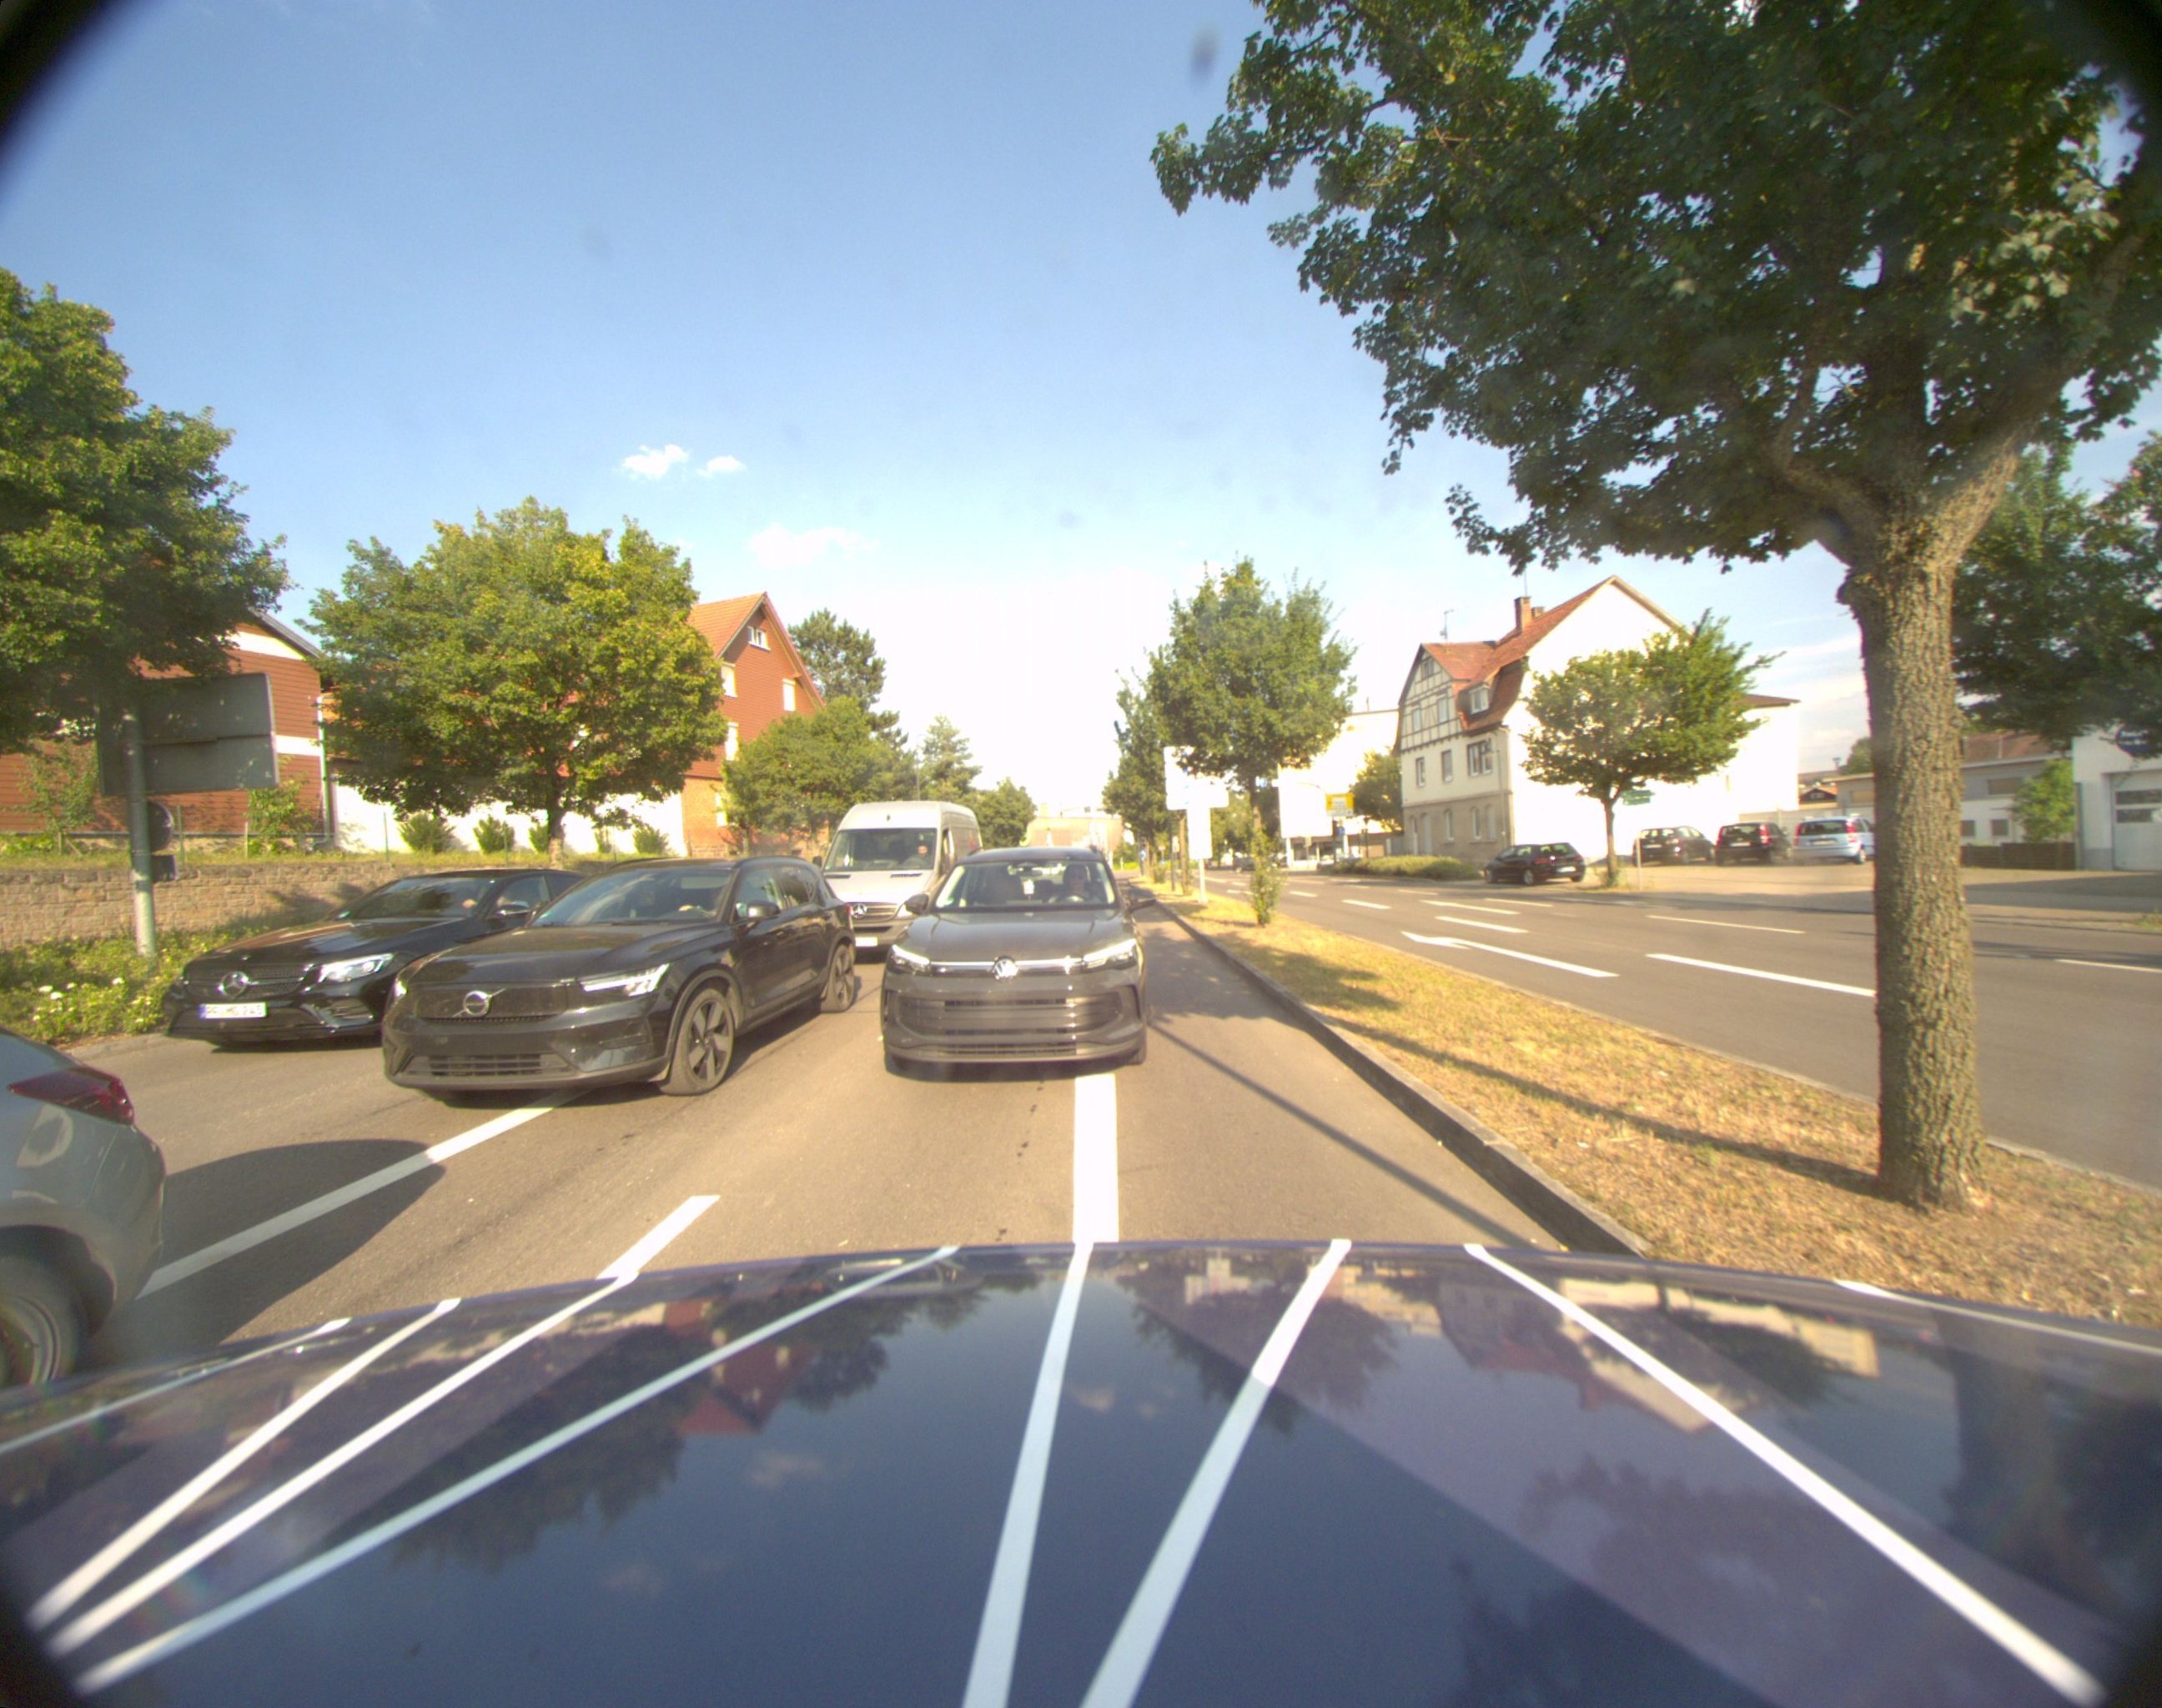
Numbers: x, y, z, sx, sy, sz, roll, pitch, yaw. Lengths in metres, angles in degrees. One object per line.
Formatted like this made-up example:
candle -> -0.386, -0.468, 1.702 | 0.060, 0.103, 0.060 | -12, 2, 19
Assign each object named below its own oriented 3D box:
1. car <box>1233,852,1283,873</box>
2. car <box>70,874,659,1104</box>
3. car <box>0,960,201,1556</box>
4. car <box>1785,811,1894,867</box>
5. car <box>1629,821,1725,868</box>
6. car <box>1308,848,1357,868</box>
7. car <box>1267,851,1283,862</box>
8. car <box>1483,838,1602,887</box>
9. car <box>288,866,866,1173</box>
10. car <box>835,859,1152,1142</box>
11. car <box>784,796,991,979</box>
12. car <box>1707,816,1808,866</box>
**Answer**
car -> 15.023, 0.704, 64.452 | 3.993, 1.622, 1.862 | -2, 0, 14
car -> -6.731, 1.094, 8.063 | 1.766, 1.599, 4.566 | -1, 0, 3
car -> -3.617, 1.070, 0.180 | 1.766, 1.445, 4.318 | -1, 0, 0
car -> 24.873, -0.506, 24.892 | 3.830, 1.493, 1.816 | -5, 0, -35
car -> 23.372, -0.393, 29.754 | 3.830, 1.493, 1.816 | -5, 0, -35
car -> 22.602, 0.382, 68.365 | 3.993, 1.622, 1.862 | -2, 0, 14
car -> 31.841, 0.411, 124.464 | 1.778, 1.683, 4.006 | -2, 0, 26
car -> 16.027, 0.282, 26.619 | 1.818, 1.442, 3.825 | -5, 0, 1
car -> -3.405, 0.956, 6.361 | 1.845, 1.600, 4.318 | -1, 0, 2
car -> -0.456, 0.881, 6.617 | 1.845, 1.600, 4.318 | -1, 0, 2
car -> -3.077, 0.461, 13.701 | 1.992, 2.554, 6.046 | -1, 0, 2
car -> 24.650, -0.492, 27.657 | 3.830, 1.493, 1.816 | -5, 0, -35
